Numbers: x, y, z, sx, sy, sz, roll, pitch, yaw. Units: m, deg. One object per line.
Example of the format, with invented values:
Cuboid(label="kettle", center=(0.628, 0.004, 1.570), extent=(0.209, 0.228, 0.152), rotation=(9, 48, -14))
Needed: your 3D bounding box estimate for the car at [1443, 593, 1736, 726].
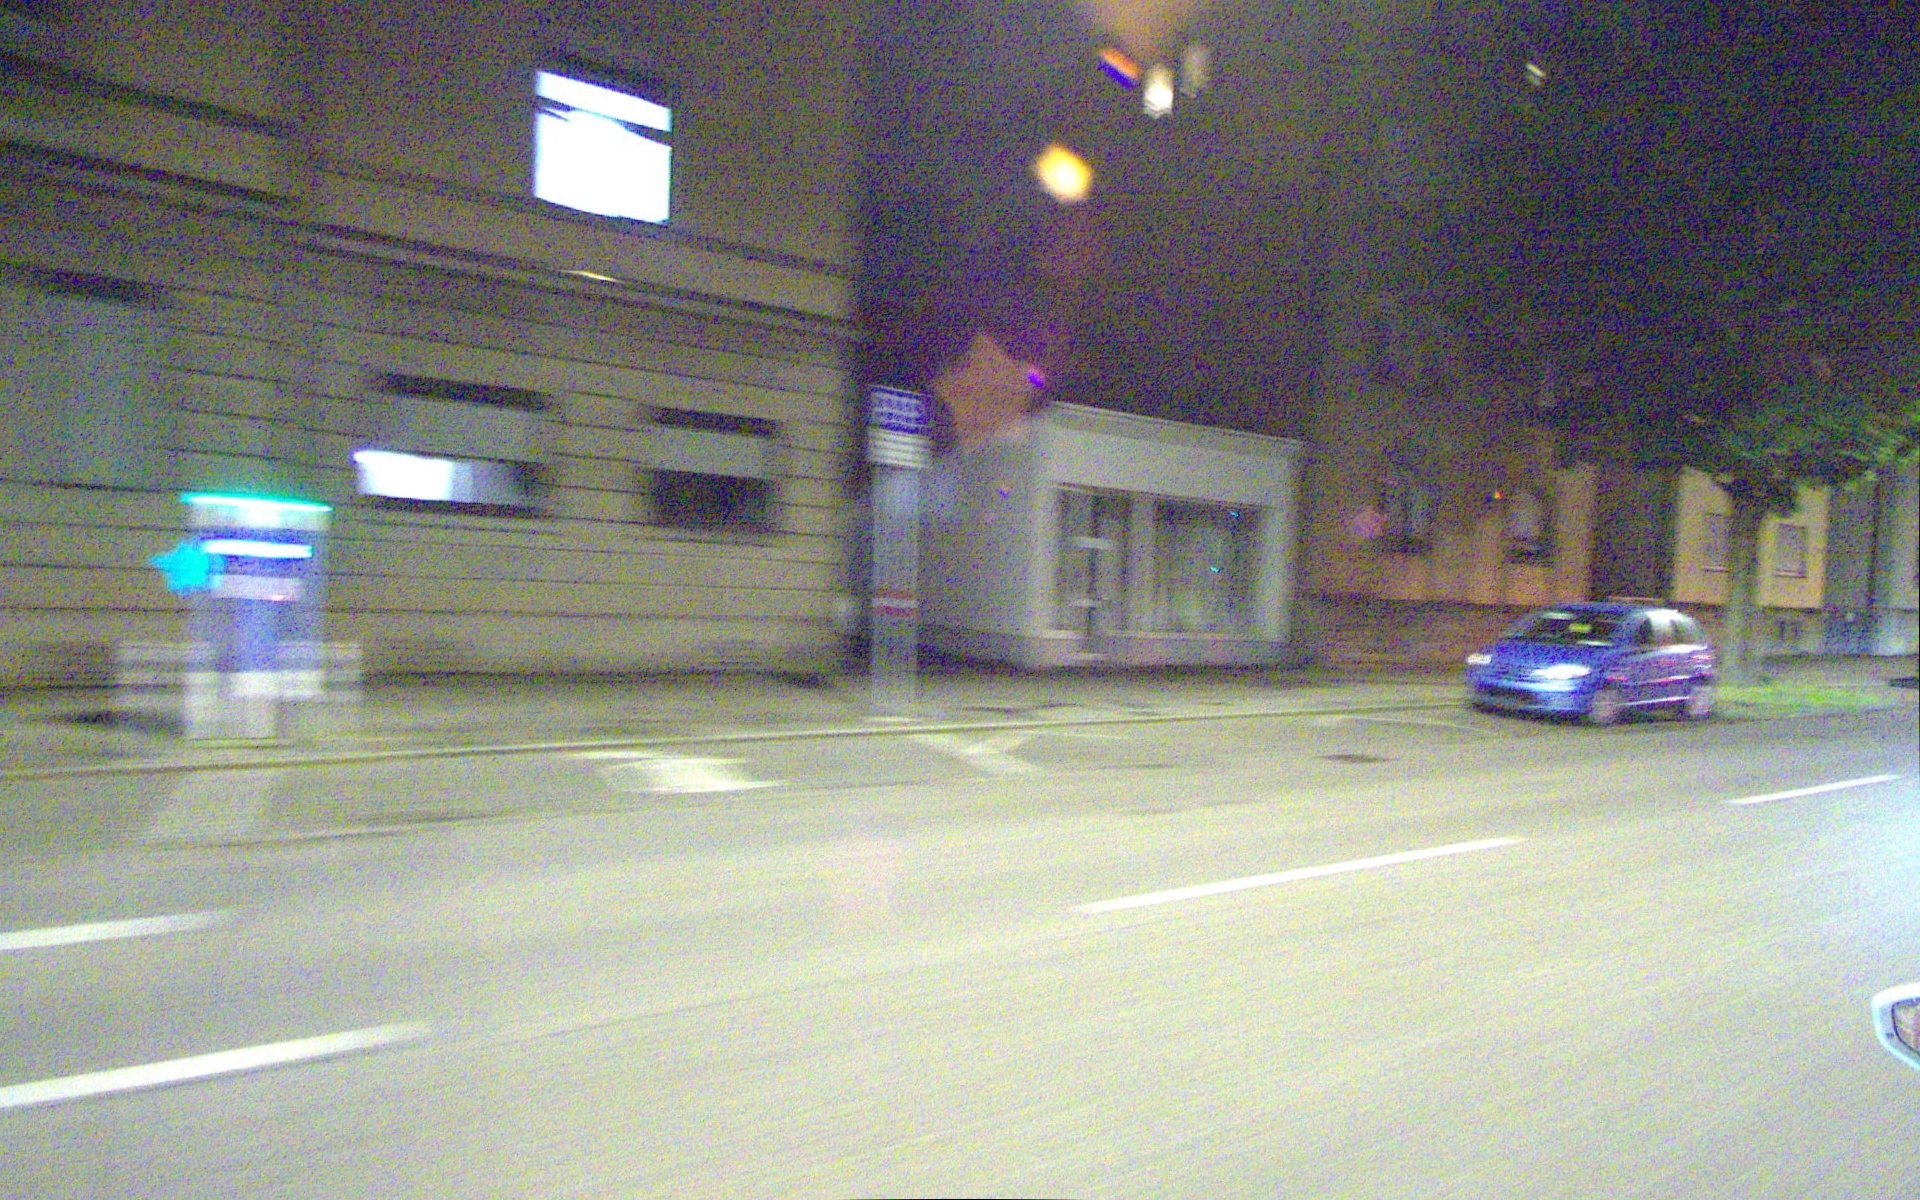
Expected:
Cuboid(label="car", center=(8.577, 0.738, 13.627), extent=(3.943, 1.514, 1.705), rotation=(1, 2, -31))

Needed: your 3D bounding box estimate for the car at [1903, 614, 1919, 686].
Cuboid(label="car", center=(22.427, 1.120, 21.752), extent=(4.715, 1.505, 1.758), rotation=(1, 1, -32))
